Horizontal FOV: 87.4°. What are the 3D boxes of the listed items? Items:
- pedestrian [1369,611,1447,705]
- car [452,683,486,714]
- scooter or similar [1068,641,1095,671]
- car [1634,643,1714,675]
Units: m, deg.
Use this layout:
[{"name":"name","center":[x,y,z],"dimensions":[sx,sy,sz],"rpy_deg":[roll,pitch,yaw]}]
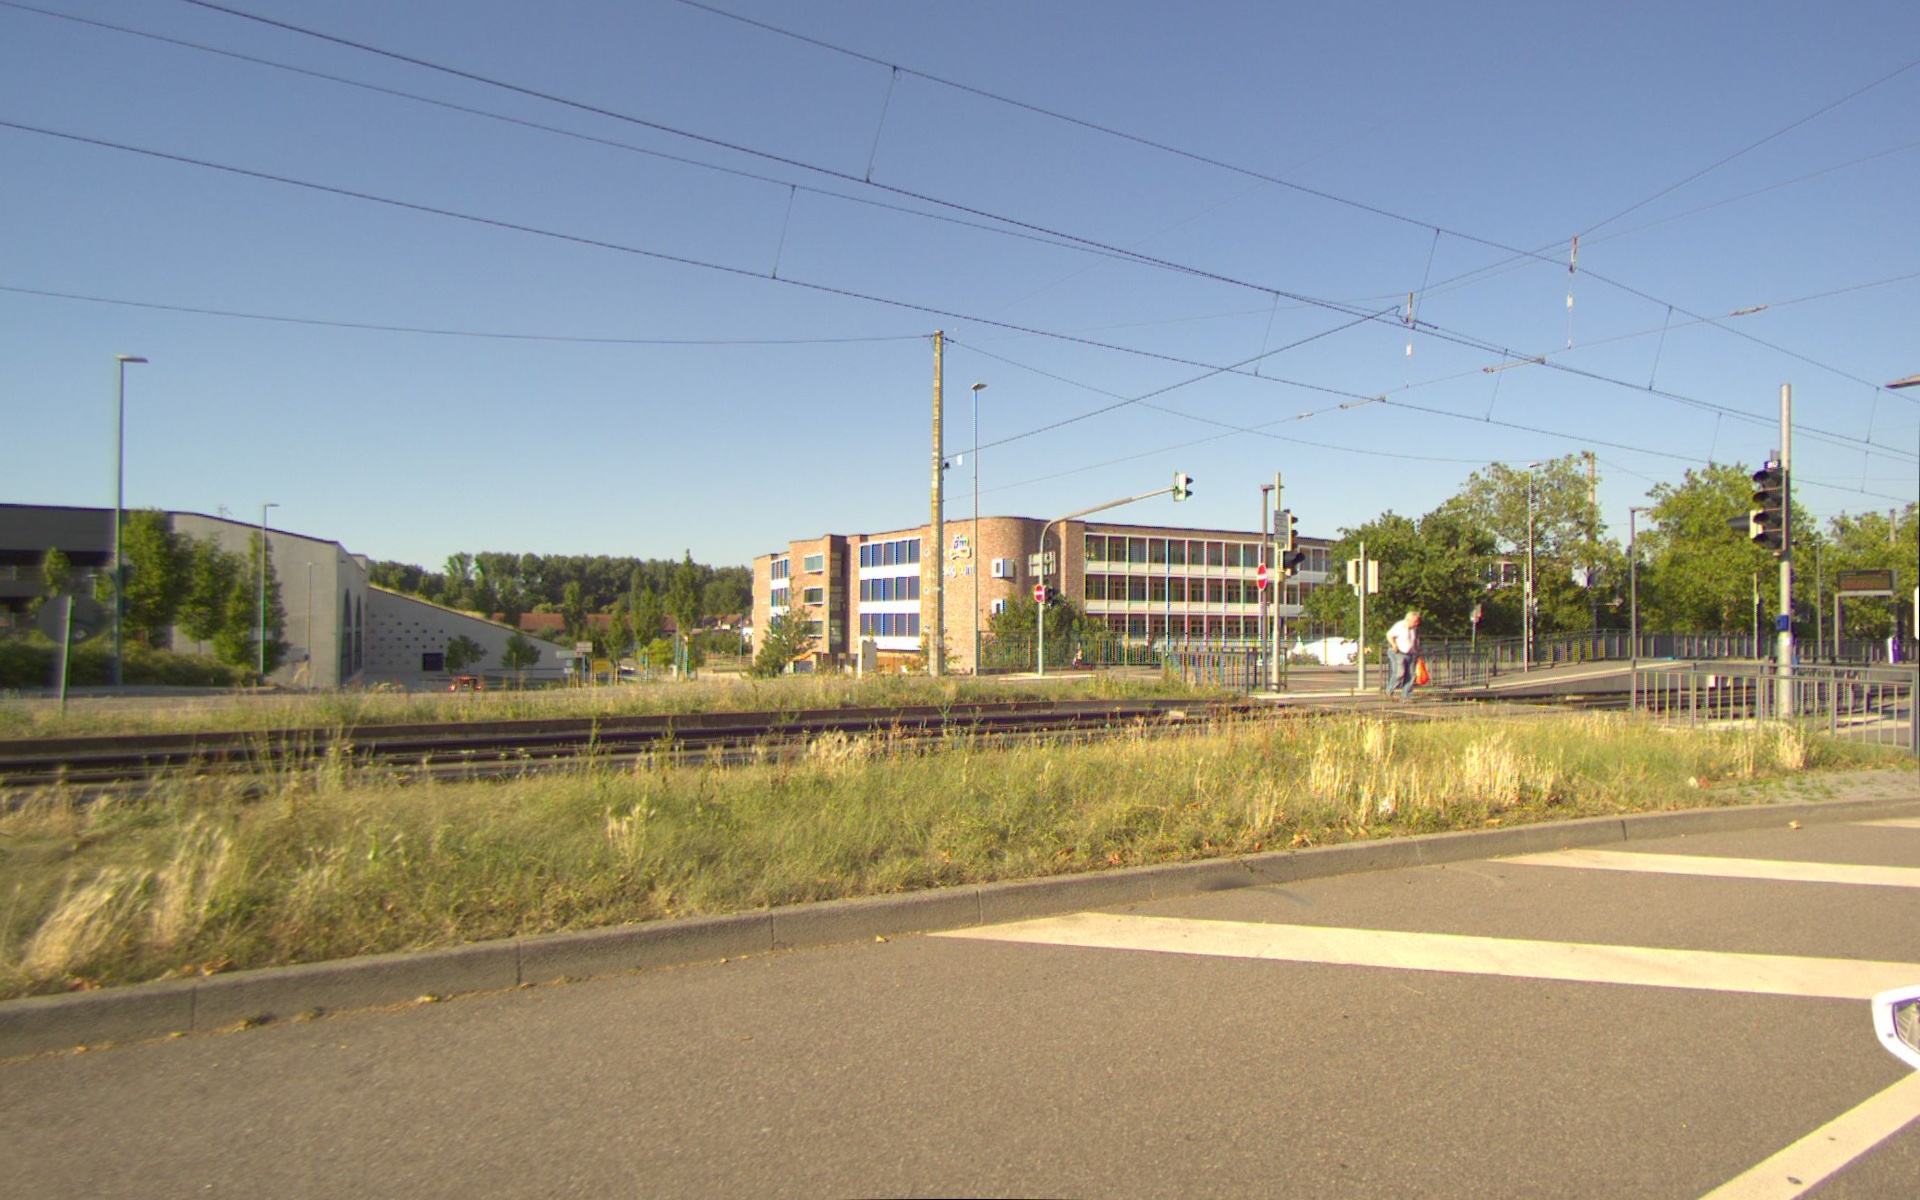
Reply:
[{"name":"pedestrian","center":[8.203,1.049,18.415],"dimensions":[0.970,1.666,0.890],"rpy_deg":[1,-1,-14]},{"name":"car","center":[-29.186,5.801,59.638],"dimensions":[1.673,1.572,3.971],"rpy_deg":[1,-2,-28]},{"name":"scooter or similar","center":[4.615,2.102,38.114],"dimensions":[1.127,1.110,0.399],"rpy_deg":[2,-2,-42]},{"name":"car","center":[34.913,2.851,49.082],"dimensions":[3.953,1.465,1.724],"rpy_deg":[1,-2,-30]}]
